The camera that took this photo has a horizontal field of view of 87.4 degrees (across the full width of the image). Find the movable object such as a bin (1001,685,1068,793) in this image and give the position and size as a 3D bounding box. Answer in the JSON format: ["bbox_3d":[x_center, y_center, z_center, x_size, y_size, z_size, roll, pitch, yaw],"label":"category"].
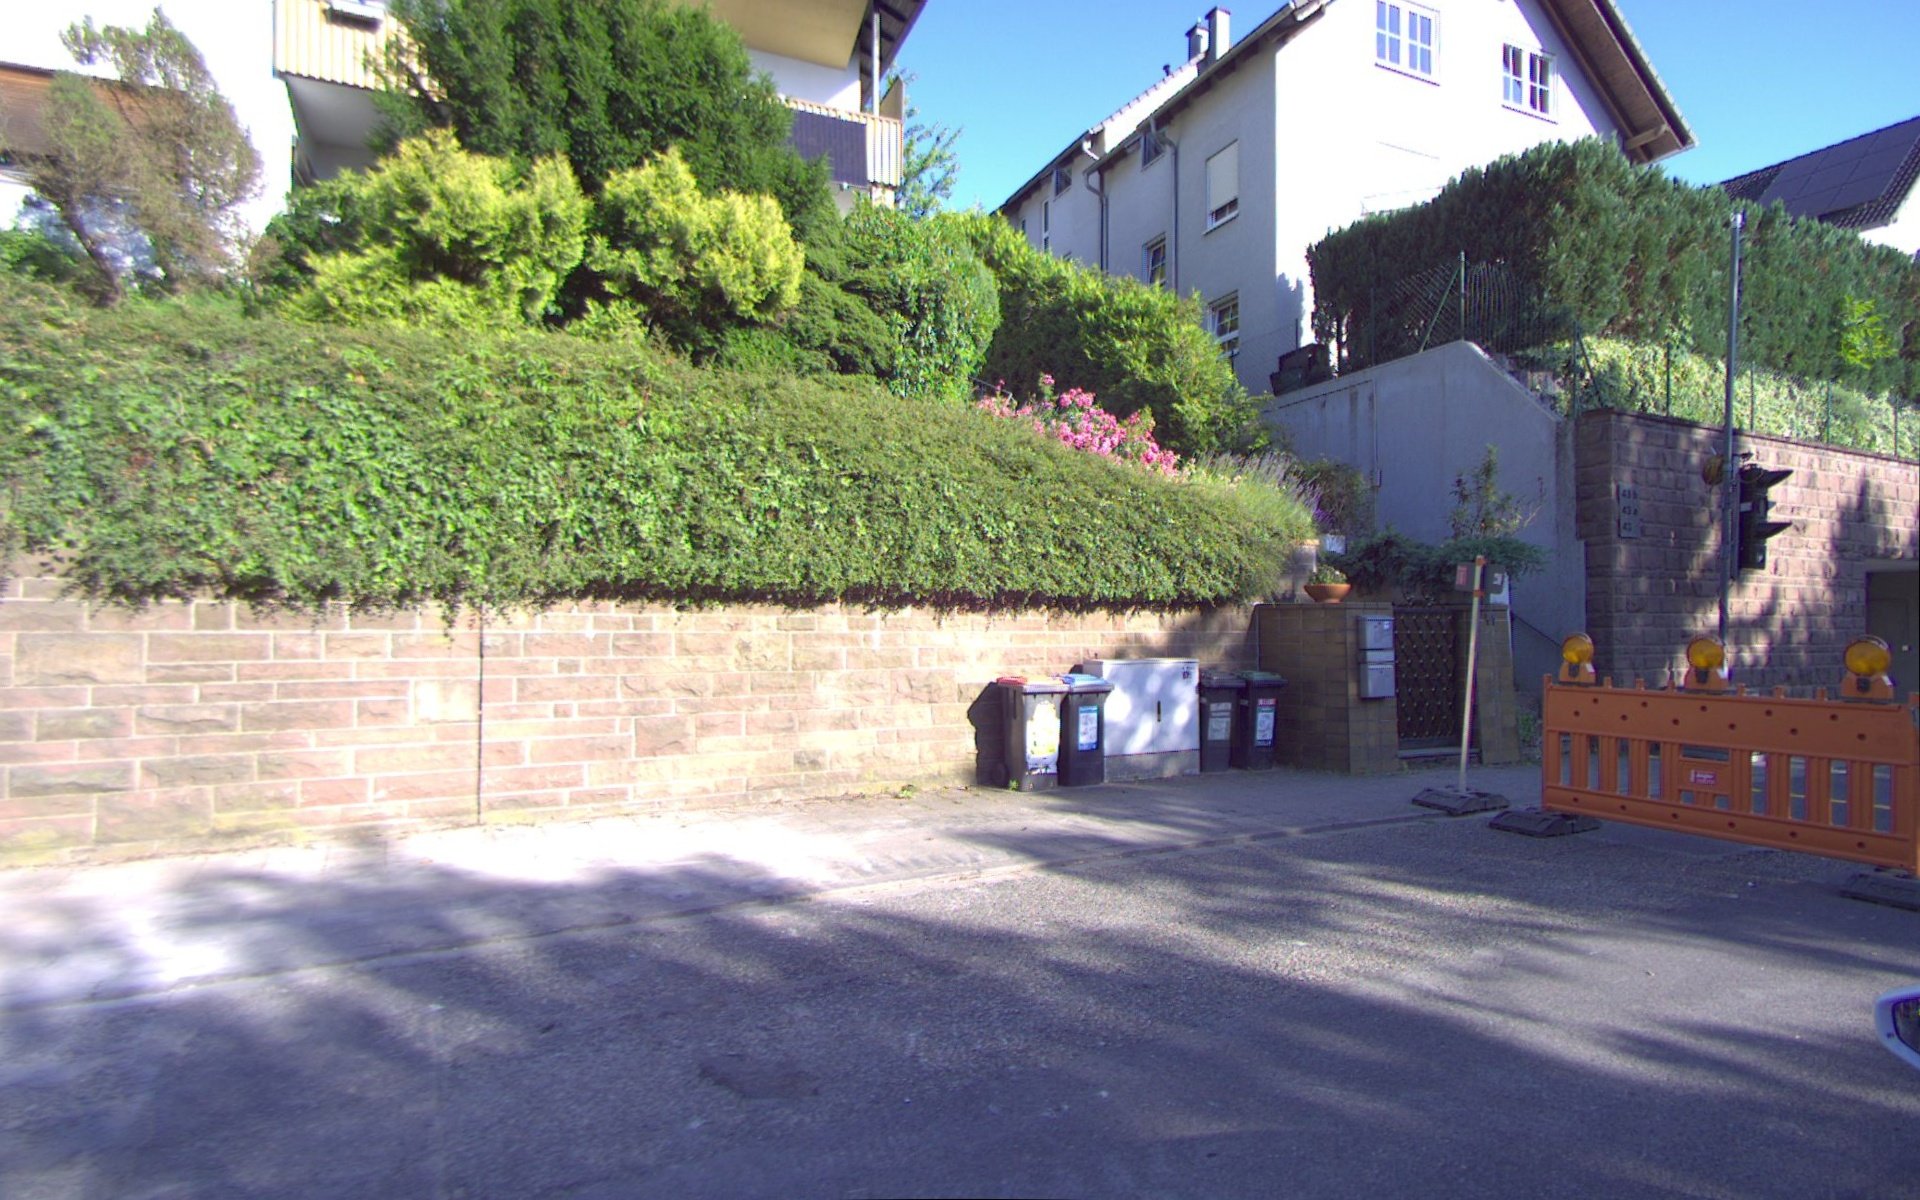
[{"bbox_3d":[0.626,1.159,8.506,0.387,0.845,0.452,1,-1,-28],"label":"movable object such as a bin"}]

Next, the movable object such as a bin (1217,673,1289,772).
[{"bbox_3d":[2.834,1.170,9.723,0.494,0.895,0.454,1,-1,-28],"label":"movable object such as a bin"}]

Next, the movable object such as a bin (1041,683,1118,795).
[{"bbox_3d":[1.037,1.189,8.722,0.494,0.895,0.454,1,-1,-28],"label":"movable object such as a bin"}]

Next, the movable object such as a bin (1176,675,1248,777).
[{"bbox_3d":[2.376,1.171,9.480,0.494,0.895,0.454,1,-1,-28],"label":"movable object such as a bin"}]
